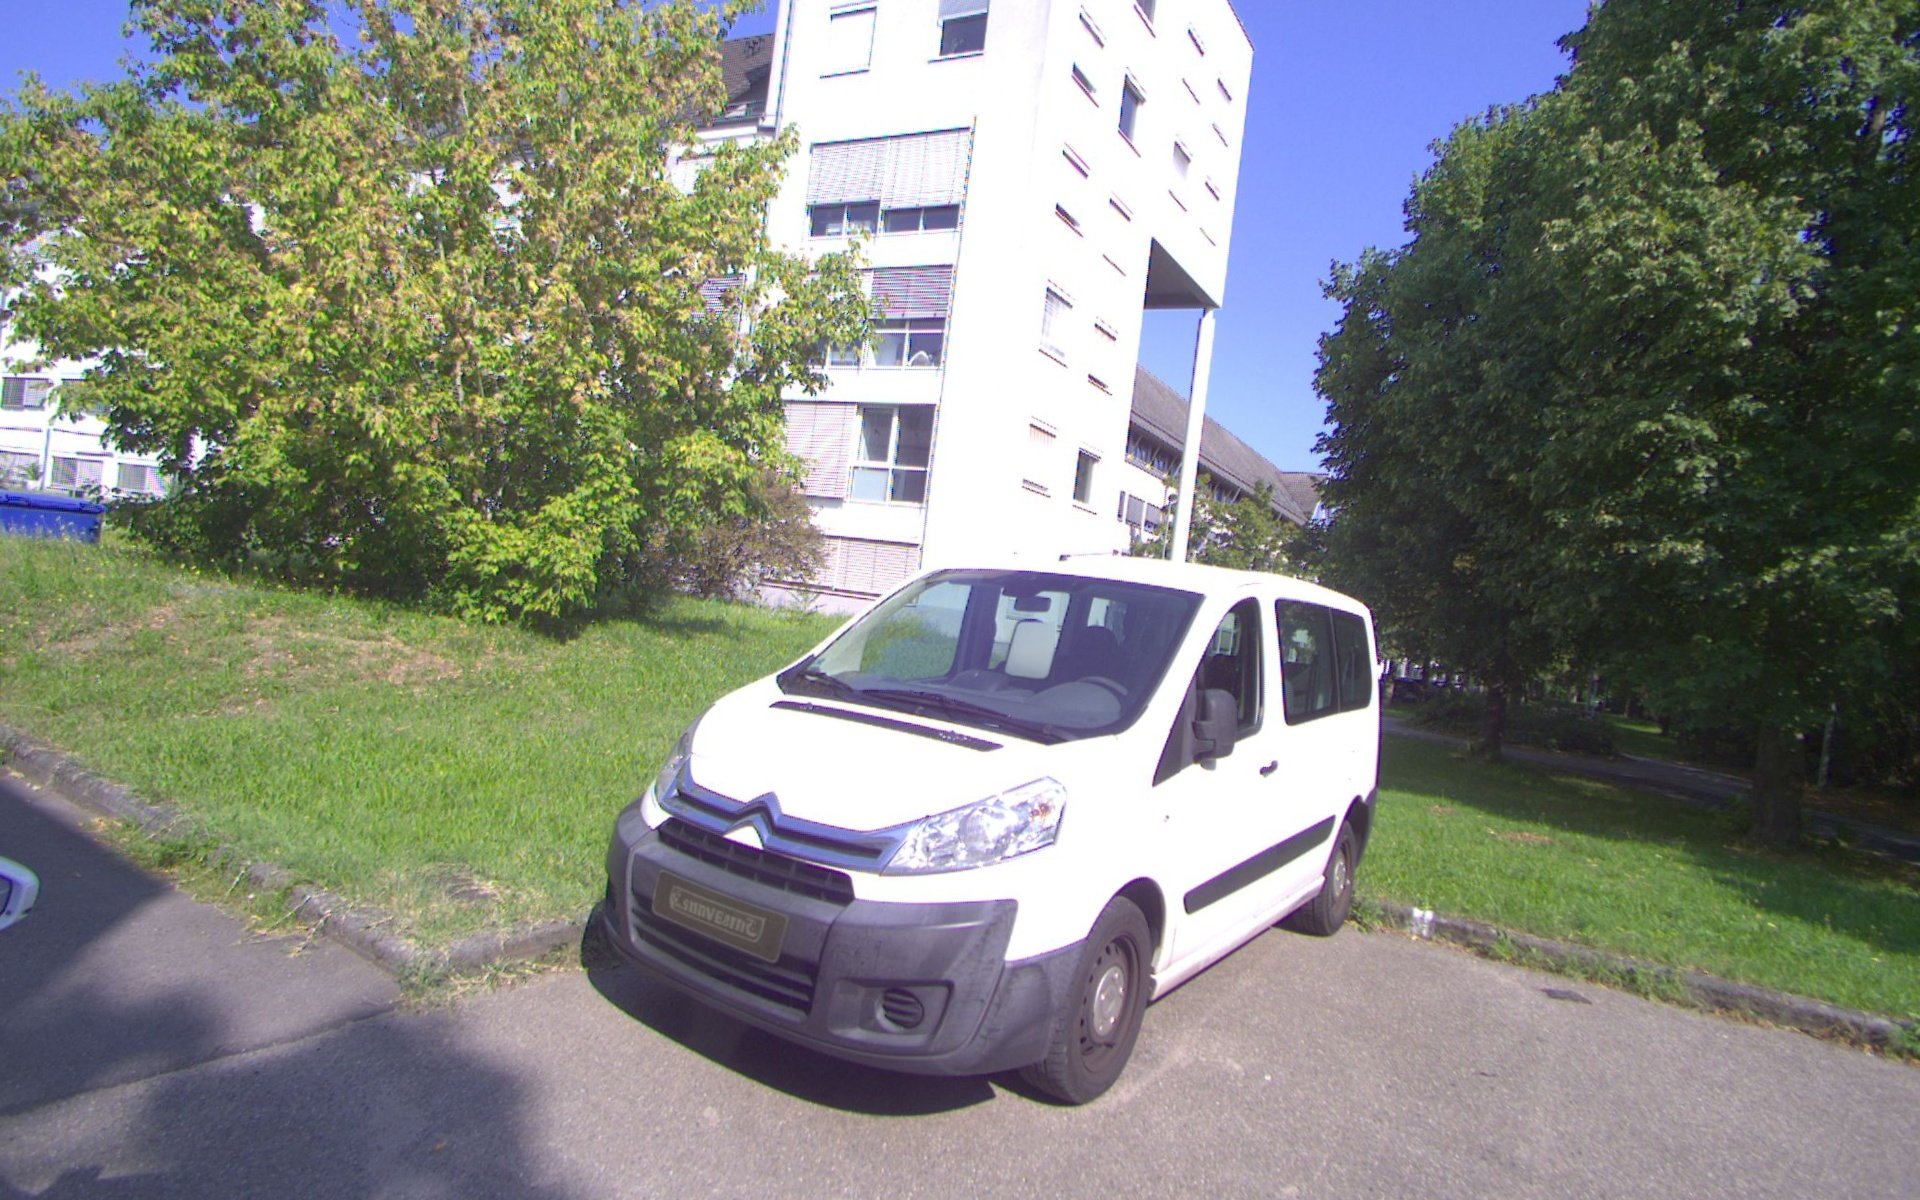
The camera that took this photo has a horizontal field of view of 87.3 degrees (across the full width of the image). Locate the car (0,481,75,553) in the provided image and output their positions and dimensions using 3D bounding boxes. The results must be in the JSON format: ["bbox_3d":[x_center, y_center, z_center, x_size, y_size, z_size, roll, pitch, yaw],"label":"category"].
[{"bbox_3d":[-24.704,-2.265,24.760,1.847,1.607,3.872,7,-1,28],"label":"car"}]

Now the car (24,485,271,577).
[{"bbox_3d":[-16.886,-1.398,21.063,1.772,1.566,3.619,7,3,31],"label":"car"}]

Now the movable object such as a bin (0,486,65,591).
[{"bbox_3d":[-13.465,-0.914,13.970,1.100,1.356,1.235,7,-1,36],"label":"movable object such as a bin"}]

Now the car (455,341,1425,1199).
[{"bbox_3d":[0.616,0.558,4.856,2.011,1.943,4.963,6,-2,34],"label":"car"}]

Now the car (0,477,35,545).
[{"bbox_3d":[-27.108,-2.621,26.109,1.741,1.711,4.125,7,-1,30],"label":"car"}]

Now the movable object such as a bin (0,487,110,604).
[{"bbox_3d":[-12.079,-0.724,13.021,1.058,1.356,1.229,7,-1,28],"label":"movable object such as a bin"}]
